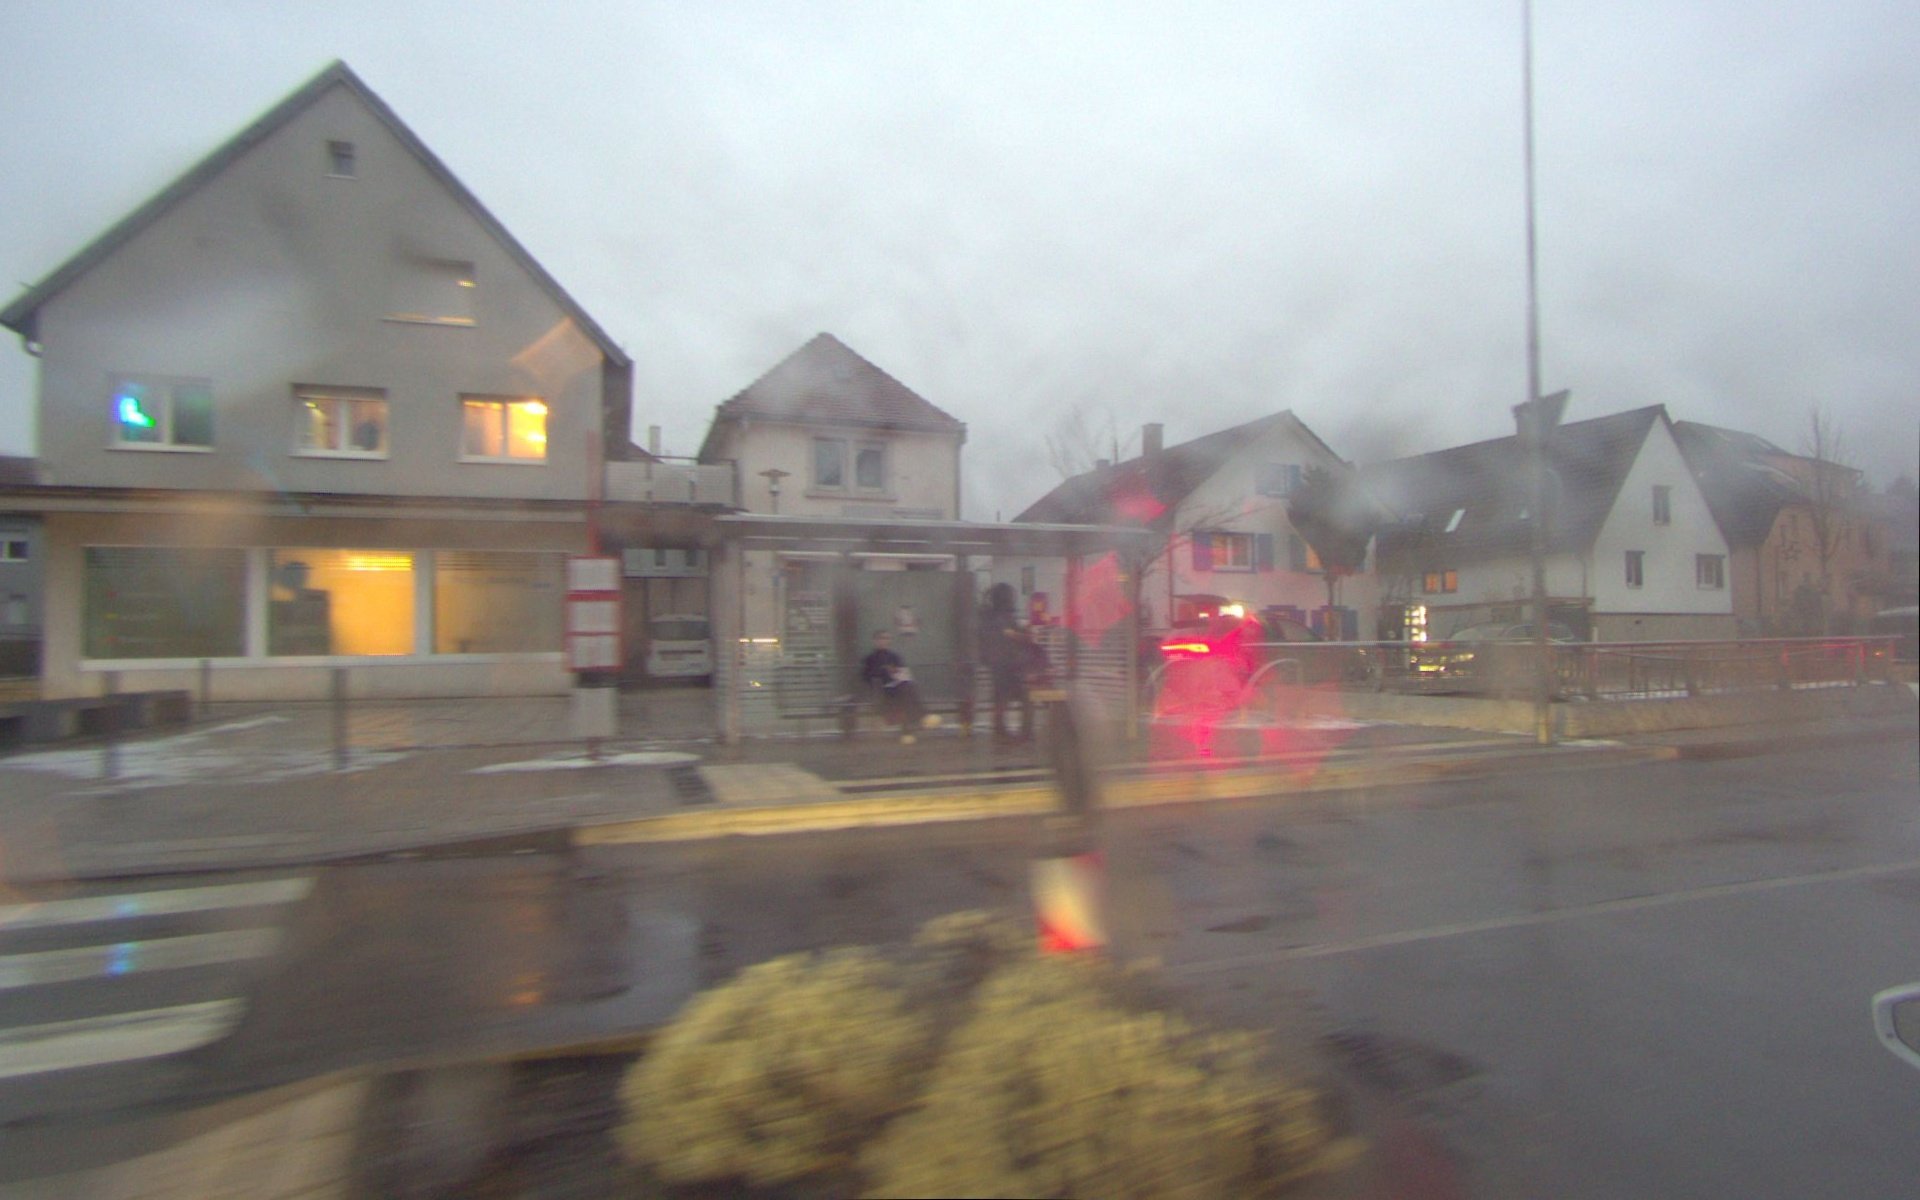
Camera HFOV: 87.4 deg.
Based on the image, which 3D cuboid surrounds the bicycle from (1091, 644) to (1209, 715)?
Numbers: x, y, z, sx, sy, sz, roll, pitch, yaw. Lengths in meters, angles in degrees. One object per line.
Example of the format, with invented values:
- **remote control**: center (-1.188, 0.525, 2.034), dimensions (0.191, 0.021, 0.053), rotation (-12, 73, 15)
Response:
- **bicycle**: center (2.885, 1.197, 15.274), dimensions (1.709, 1.023, 0.470), rotation (0, -2, -13)

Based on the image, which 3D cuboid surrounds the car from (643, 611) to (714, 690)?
- **car**: center (-7.233, 1.261, 25.644), dimensions (1.490, 1.877, 3.412), rotation (1, -2, -20)

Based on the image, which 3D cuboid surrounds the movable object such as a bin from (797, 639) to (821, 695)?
- **movable object such as a bin**: center (-3.408, 1.510, 22.666), dimensions (0.447, 1.225, 0.286), rotation (2, -1, -24)

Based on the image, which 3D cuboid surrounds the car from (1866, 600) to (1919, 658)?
- **car**: center (26.234, 0.755, 25.993), dimensions (1.690, 1.543, 3.786), rotation (1, -1, -22)

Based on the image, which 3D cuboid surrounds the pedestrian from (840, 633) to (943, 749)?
- **pedestrian**: center (-0.783, 0.985, 11.223), dimensions (0.888, 1.174, 0.987), rotation (-2, 0, -20)

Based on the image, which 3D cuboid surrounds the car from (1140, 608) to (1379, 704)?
- **car**: center (6.070, 1.114, 20.326), dimensions (4.500, 1.722, 1.752), rotation (-1, -4, -24)

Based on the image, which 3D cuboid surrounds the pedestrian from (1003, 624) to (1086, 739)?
- **pedestrian**: center (0.991, 0.938, 11.889), dimensions (0.740, 1.288, 0.683), rotation (0, 0, -25)

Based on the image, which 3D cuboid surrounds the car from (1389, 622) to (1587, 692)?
- **car**: center (12.346, 1.313, 23.459), dimensions (4.513, 1.502, 1.796), rotation (1, -4, -27)

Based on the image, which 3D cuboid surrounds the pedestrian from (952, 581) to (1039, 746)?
- **pedestrian**: center (0.390, 0.680, 11.246), dimensions (0.679, 1.765, 0.744), rotation (0, 0, -29)

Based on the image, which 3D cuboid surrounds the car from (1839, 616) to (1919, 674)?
- **car**: center (23.915, 1.076, 24.467), dimensions (1.581, 1.390, 3.430), rotation (0, -2, -29)
